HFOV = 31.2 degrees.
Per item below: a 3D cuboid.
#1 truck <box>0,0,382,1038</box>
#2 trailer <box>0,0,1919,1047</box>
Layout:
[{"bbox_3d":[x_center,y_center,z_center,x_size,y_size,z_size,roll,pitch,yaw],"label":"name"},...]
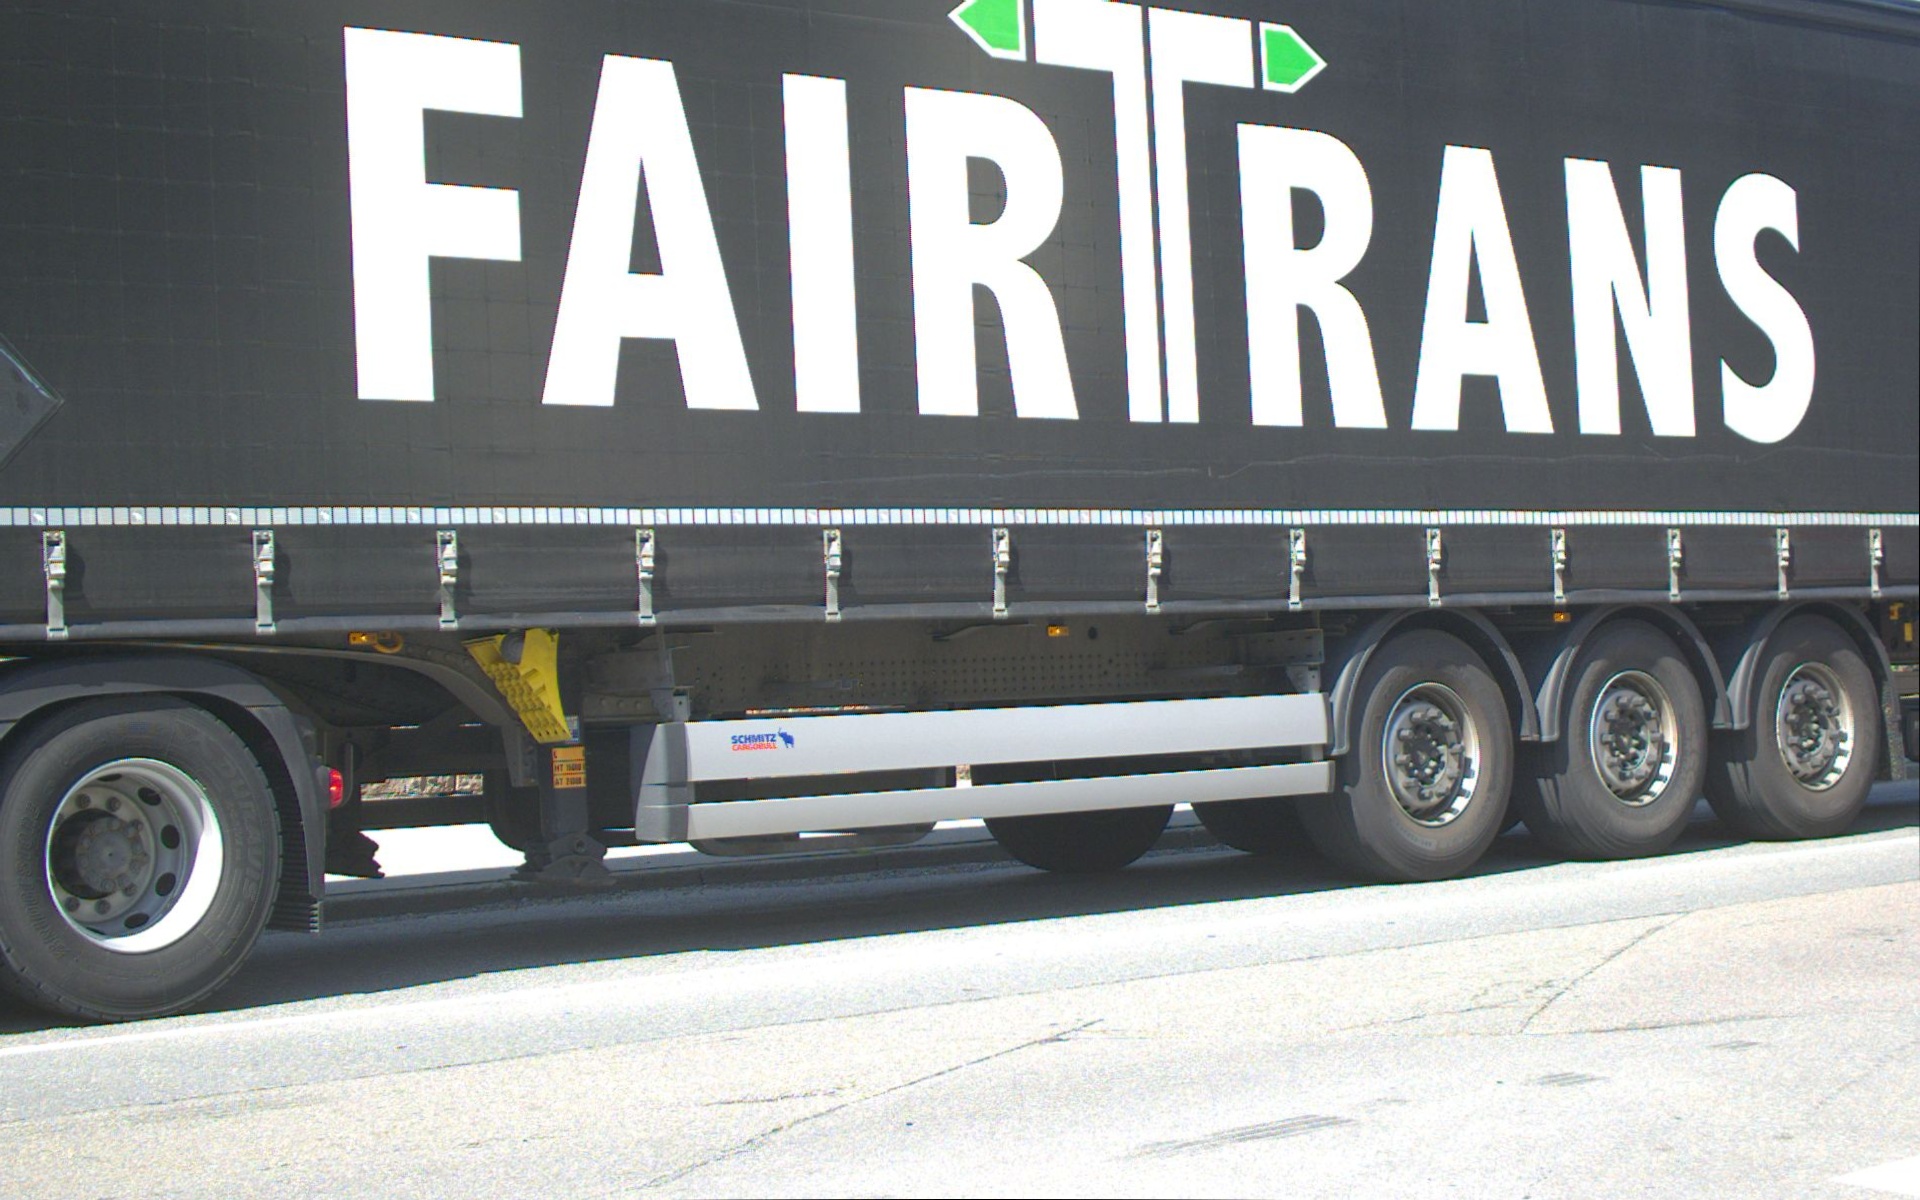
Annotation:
[{"bbox_3d":[-5.074,-0.664,10.049,5.915,4.057,2.838,-2,-1,-40],"label":"truck"},{"bbox_3d":[0.114,-0.827,14.360,13.732,4.090,2.841,-2,-1,-40],"label":"trailer"}]
